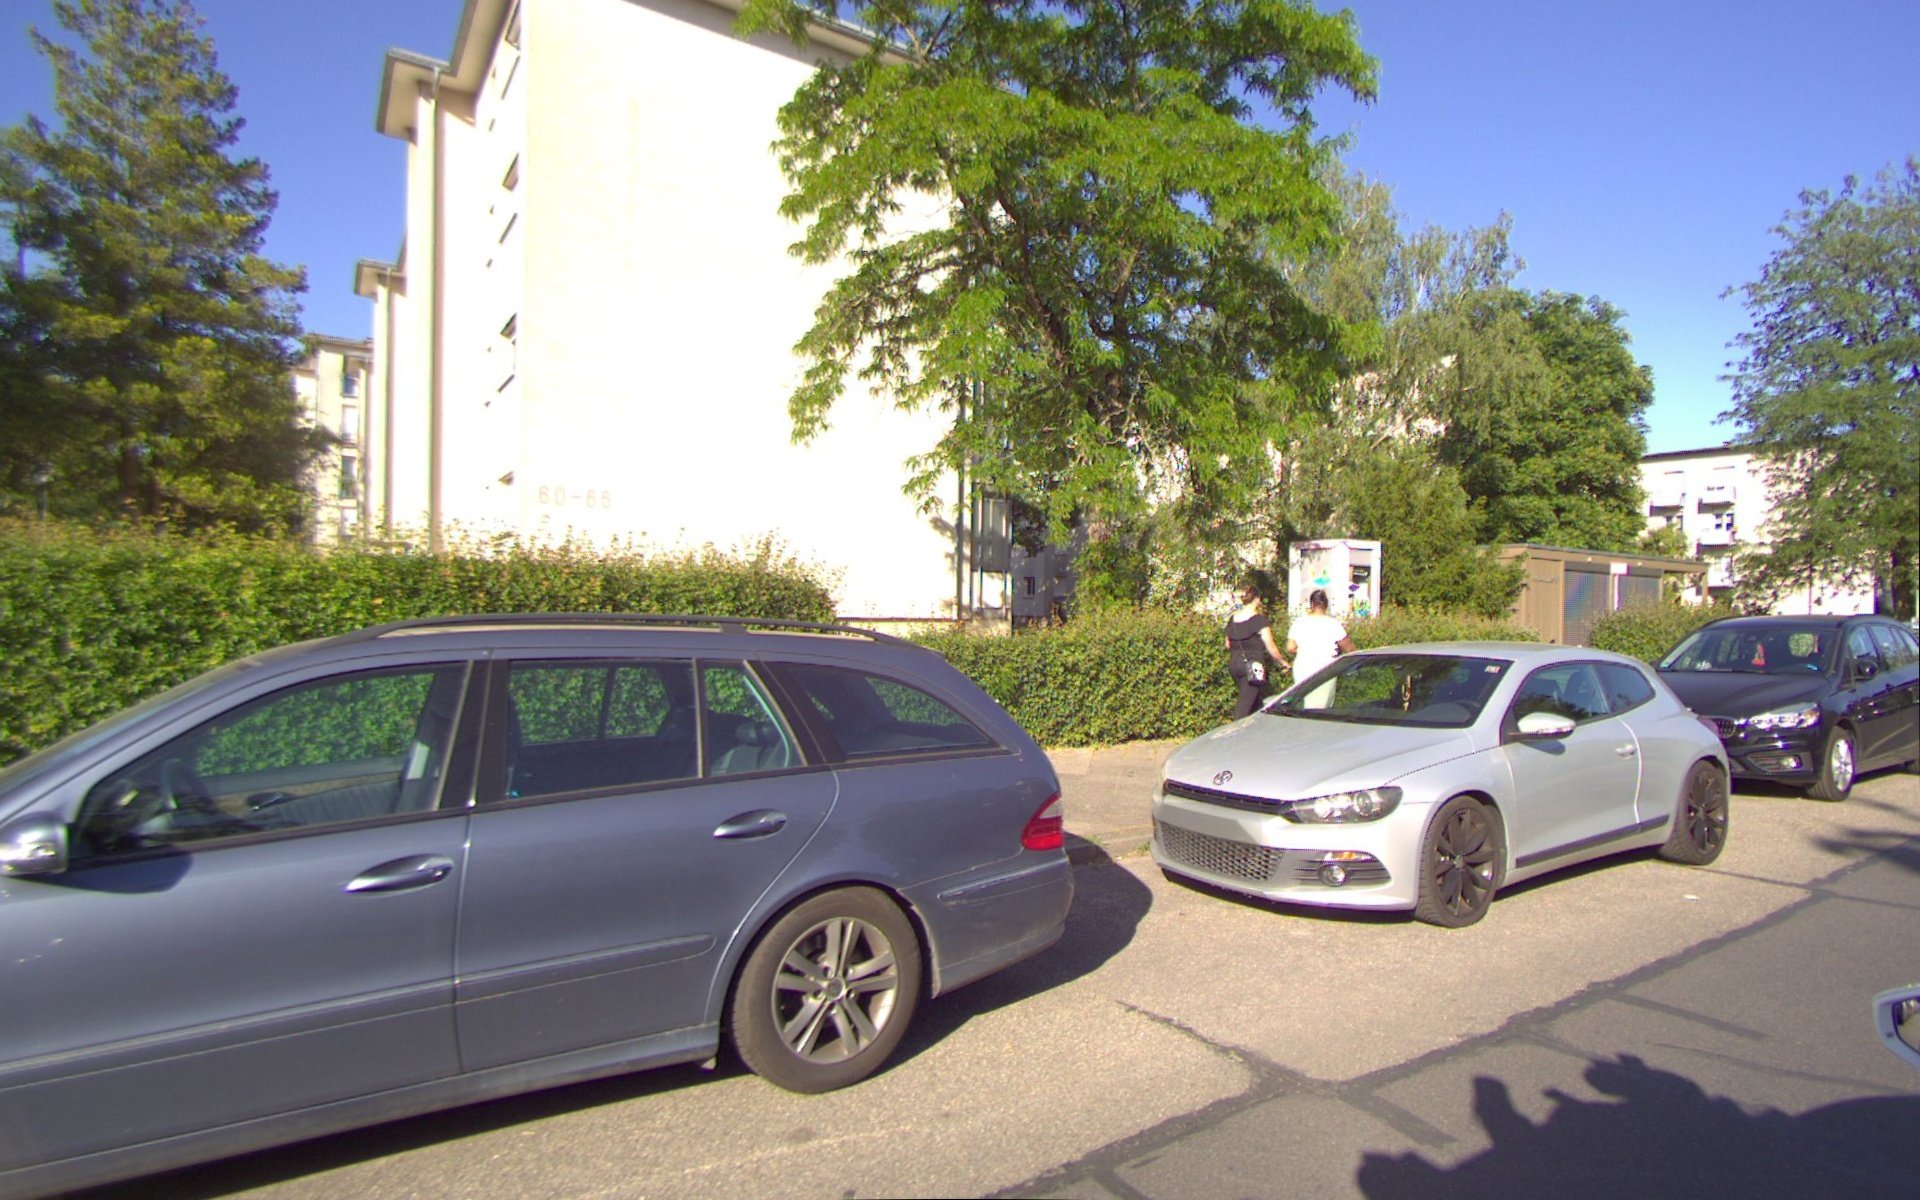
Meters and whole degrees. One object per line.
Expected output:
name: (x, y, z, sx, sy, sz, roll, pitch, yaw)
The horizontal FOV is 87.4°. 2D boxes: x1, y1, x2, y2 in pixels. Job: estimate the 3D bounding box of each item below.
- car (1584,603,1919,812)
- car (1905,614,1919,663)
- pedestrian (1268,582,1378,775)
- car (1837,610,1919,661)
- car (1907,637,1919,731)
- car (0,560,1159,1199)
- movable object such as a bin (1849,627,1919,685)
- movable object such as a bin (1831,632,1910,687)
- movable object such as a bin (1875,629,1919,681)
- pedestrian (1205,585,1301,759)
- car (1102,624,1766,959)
car: (8.157, 0.919, 9.935, 4.325, 1.657, 1.744, 1, -3, -34)
car: (32.671, 1.284, 33.033, 3.961, 1.545, 1.560, 1, 0, -36)
pedestrian: (3.356, 0.695, 9.305, 0.610, 1.701, 0.716, 1, 0, -33)
car: (32.291, 1.224, 35.117, 3.961, 1.663, 1.560, 1, 0, -36)
car: (16.821, 1.283, 15.904, 4.224, 1.439, 1.744, 1, -3, -34)
car: (-1.758, 0.736, 3.267, 4.846, 1.509, 1.745, 2, -4, -32)
movable object such as a bin: (24.197, 1.436, 26.217, 1.329, 1.427, 1.171, 1, 0, -33)
movable object such as a bin: (23.077, 1.481, 25.467, 1.329, 1.305, 1.171, 1, 0, -33)
movable object such as a bin: (25.834, 1.482, 27.243, 1.328, 1.358, 1.171, 1, 0, -32)
pedestrian: (2.993, 0.703, 10.274, 0.593, 1.701, 0.716, 1, 0, -33)
car: (3.040, 0.915, 6.210, 4.163, 1.443, 1.745, 2, -3, -32)
